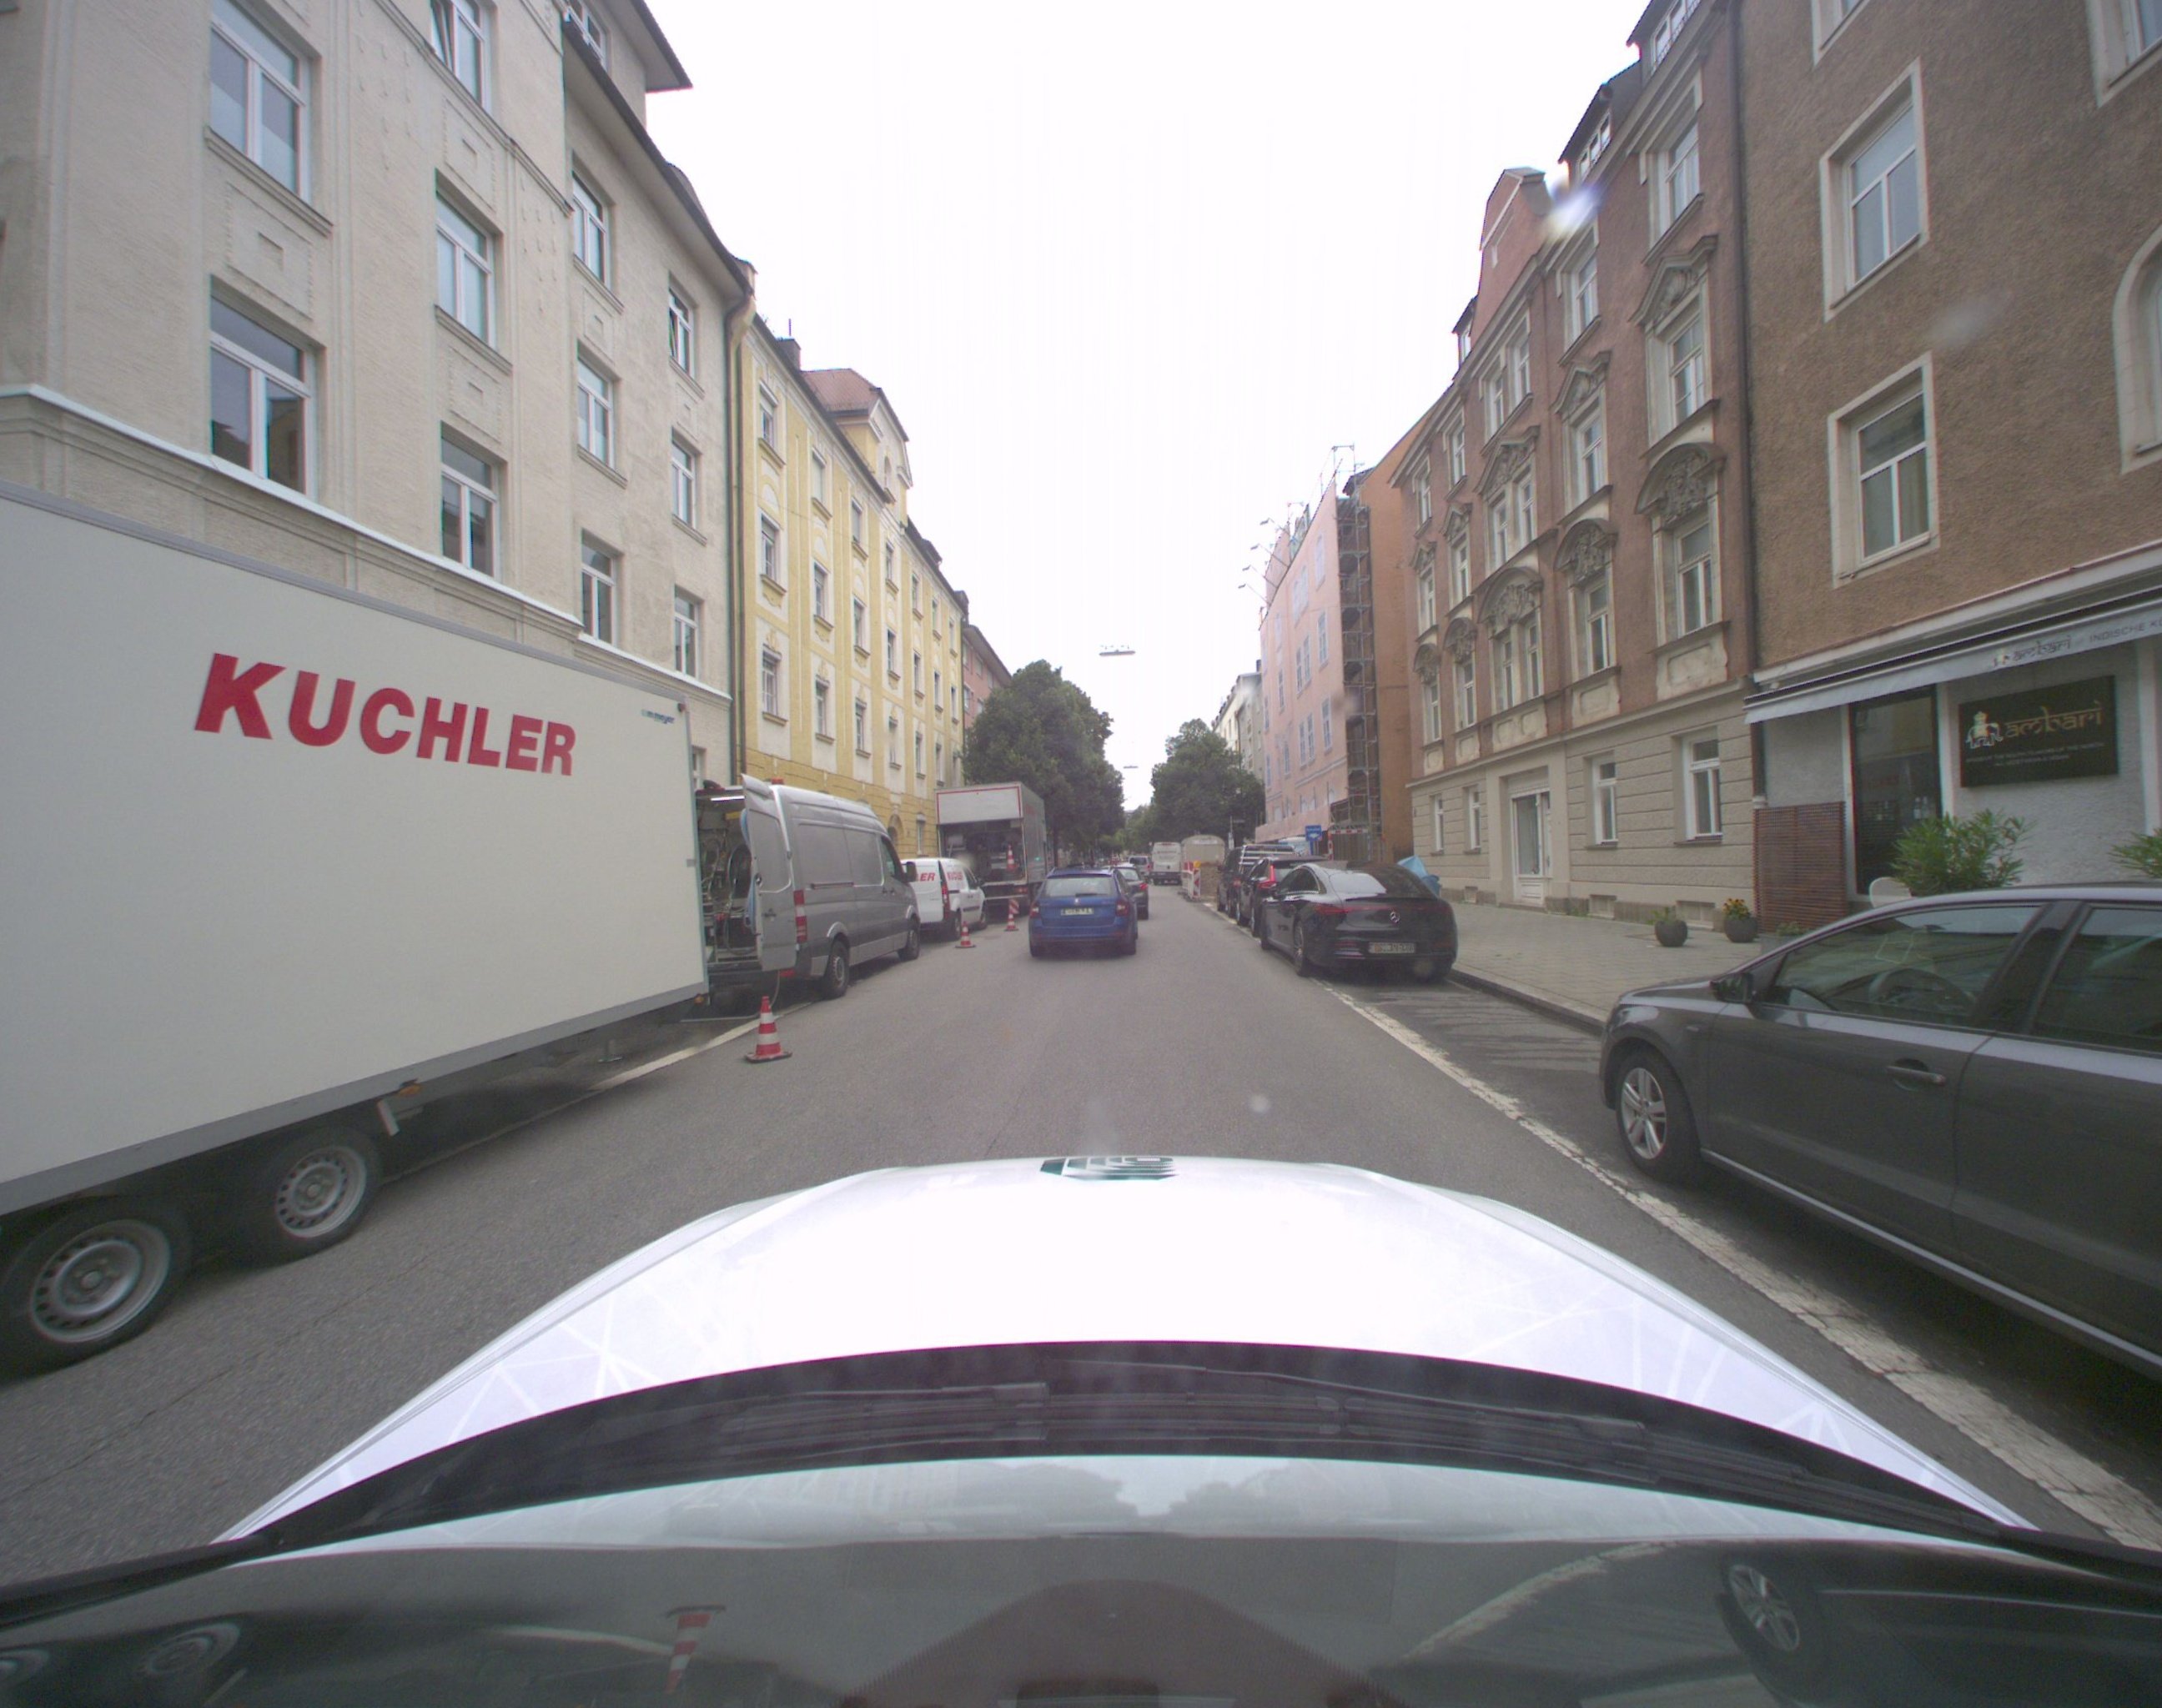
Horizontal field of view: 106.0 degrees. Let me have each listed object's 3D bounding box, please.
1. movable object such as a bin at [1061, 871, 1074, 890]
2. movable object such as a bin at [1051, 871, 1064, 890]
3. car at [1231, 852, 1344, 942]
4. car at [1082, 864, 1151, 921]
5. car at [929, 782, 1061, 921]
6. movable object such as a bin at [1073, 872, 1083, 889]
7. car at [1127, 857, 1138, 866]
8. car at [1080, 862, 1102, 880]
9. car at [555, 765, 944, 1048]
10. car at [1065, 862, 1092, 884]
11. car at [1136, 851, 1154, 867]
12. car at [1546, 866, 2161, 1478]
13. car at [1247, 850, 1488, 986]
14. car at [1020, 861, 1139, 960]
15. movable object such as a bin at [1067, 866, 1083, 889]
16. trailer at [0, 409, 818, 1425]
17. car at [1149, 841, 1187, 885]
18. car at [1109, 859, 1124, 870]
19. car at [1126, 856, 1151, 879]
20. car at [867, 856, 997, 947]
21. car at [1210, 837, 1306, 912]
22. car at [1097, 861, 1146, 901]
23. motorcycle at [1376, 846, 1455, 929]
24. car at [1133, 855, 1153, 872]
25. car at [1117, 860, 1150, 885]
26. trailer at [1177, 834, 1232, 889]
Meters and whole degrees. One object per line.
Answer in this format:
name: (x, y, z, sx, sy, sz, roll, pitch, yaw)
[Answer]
movable object such as a bin: (-0.833, 1.647, 51.206, 0.709, 1.148, 0.636, -4, -1, 0)
movable object such as a bin: (-1.499, 1.689, 51.187, 0.718, 1.138, 0.658, -4, -1, 0)
car: (4.359, 0.855, 17.809, 1.685, 1.676, 4.413, 1, -1, 5)
car: (1.076, 1.015, 22.878, 1.733, 1.422, 3.669, -2, -1, 5)
car: (-2.524, -0.009, 27.198, 2.800, 3.818, 8.731, -2, -1, 4)
movable object such as a bin: (-0.213, 1.650, 51.233, 0.545, 1.020, 0.636, -4, -1, 0)
car: (9.726, 1.500, 154.567, 1.999, 1.653, 4.352, 0, 0, 4)
car: (0.921, 1.446, 70.628, 1.805, 1.478, 4.002, -1, 0, 2)
car: (-3.858, 0.550, 11.455, 2.047, 2.587, 6.883, -6, -1, 4)
car: (-0.153, 1.381, 59.929, 1.805, 1.478, 4.002, -1, 0, 2)
car: (7.200, 0.560, 91.853, 1.998, 1.653, 4.353, 0, 0, 5)
car: (3.347, 0.761, 2.520, 1.565, 1.394, 4.186, -2, -1, 3)
car: (3.897, 0.769, 12.298, 1.923, 1.553, 5.641, -1, -1, 3)
car: (0.110, 0.902, 14.656, 1.781, 1.460, 4.318, -2, -1, 4)
movable object such as a bin: (-0.364, 1.494, 52.100, 0.915, 1.376, 1.079, -4, -1, 0)
trailer: (-4.383, 0.245, 3.969, 2.789, 2.969, 7.613, -5, 0, 6)
car: (5.703, 0.598, 52.973, 2.100, 2.664, 5.515, 0, -1, 10)
car: (5.296, 1.521, 121.192, 1.999, 1.653, 4.352, 0, 0, 4)
car: (4.763, 1.091, 67.201, 1.858, 1.870, 4.355, 0, 0, 6)
car: (-3.288, 1.000, 18.858, 1.754, 1.779, 4.332, -4, -1, 5)
car: (4.986, 0.665, 23.673, 2.072, 1.921, 5.146, 0, -3, 5)
car: (1.657, 1.051, 33.324, 1.859, 1.454, 4.351, 0, 0, 3)
motorcycle: (6.496, 0.623, 15.954, 0.867, 1.505, 2.000, -2, -1, 6)
car: (6.087, 0.923, 80.070, 1.859, 1.653, 4.352, 0, 0, 4)
car: (3.134, 1.081, 48.450, 1.859, 1.348, 4.352, 0, 0, 4)
trailer: (6.827, 0.451, 45.798, 2.491, 2.840, 6.908, 0, -1, 4)
